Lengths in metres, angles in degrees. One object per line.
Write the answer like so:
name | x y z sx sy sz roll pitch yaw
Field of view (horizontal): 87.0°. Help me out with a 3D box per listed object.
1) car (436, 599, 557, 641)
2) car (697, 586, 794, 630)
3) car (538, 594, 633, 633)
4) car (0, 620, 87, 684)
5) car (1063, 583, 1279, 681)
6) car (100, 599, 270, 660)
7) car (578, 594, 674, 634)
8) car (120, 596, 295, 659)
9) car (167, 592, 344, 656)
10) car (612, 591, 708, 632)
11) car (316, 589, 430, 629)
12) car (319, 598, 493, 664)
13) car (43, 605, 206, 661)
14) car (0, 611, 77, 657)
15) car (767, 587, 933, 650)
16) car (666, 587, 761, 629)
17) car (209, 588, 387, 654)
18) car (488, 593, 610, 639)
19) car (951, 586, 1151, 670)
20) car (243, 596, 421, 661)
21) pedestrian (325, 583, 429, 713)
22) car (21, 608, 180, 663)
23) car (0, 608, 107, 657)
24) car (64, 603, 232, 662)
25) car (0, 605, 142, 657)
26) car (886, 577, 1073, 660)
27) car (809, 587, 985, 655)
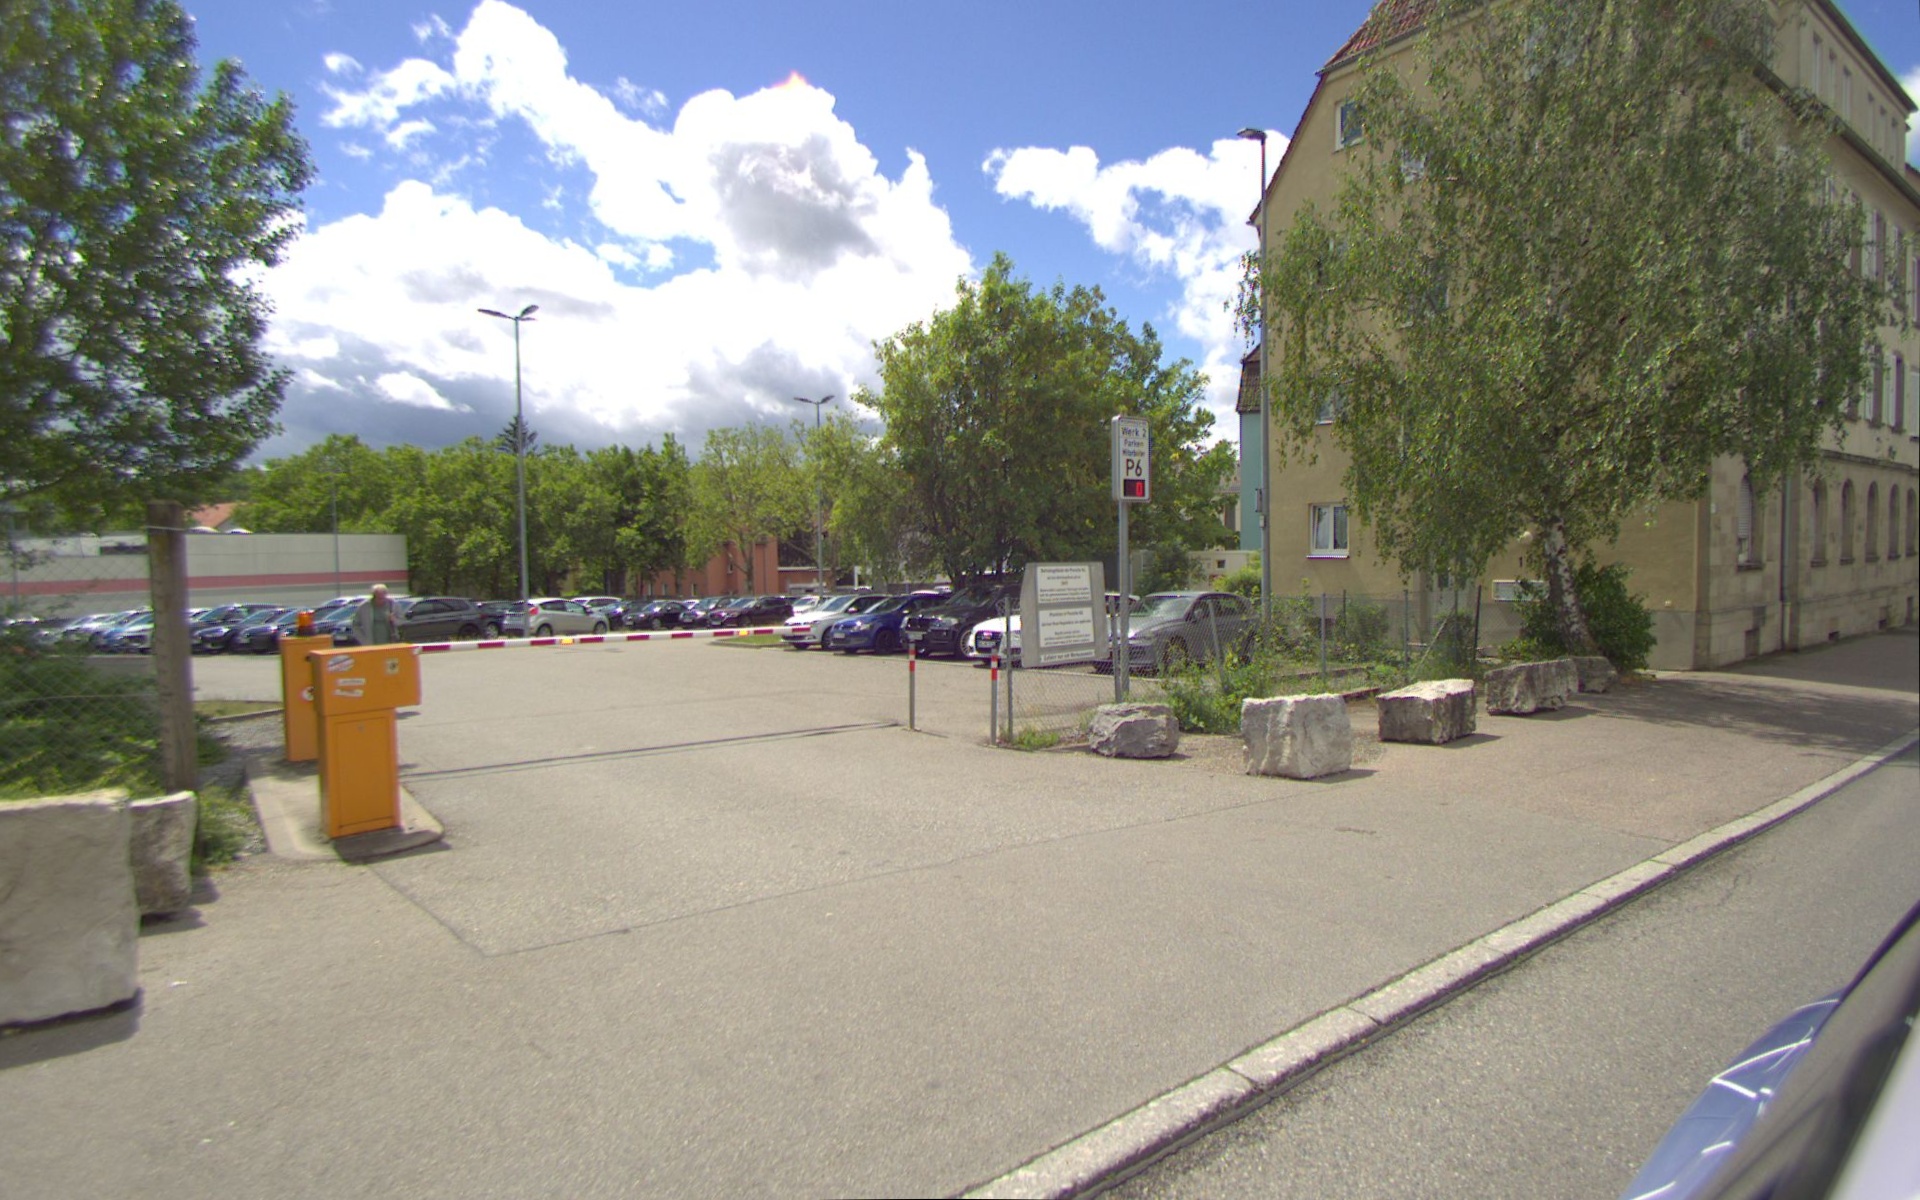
car | -16.826 0.697 36.913 1.852 1.280 3.687 -1 2 25
car | -9.360 0.310 44.426 1.854 1.690 4.310 -1 2 27
car | -18.560 0.629 50.303 1.854 1.690 4.310 -1 2 27
car | -21.357 1.210 21.510 1.490 1.278 3.960 -3 1 30
car | 3.958 0.528 18.666 4.072 1.408 1.718 -4 1 -41
car | -27.748 1.009 36.406 1.979 1.808 4.407 -3 1 26
car | -15.958 0.625 48.623 1.854 1.690 4.310 -1 2 27
car | -25.813 0.901 34.896 1.979 1.808 4.407 -3 1 26
car | -23.479 0.759 33.911 1.979 1.808 4.407 -3 1 26
car | -13.964 0.510 47.342 1.854 1.690 4.310 -1 2 27
car | -23.971 0.342 41.449 1.850 1.466 3.691 -1 2 23
car | -16.665 0.871 30.673 1.854 1.690 4.310 -1 2 27
car | -32.324 1.236 39.313 1.979 1.808 4.407 -3 1 26
car | -41.469 1.543 43.840 1.979 1.808 4.407 -3 1 26
car | -2.895 0.423 27.218 1.870 1.468 4.214 0 2 44
car | -11.226 0.340 46.360 1.854 1.690 4.310 -1 2 27
car | -21.455 0.636 32.997 1.979 1.808 4.407 -3 1 26
car | -14.395 0.534 35.642 1.852 1.404 3.687 -1 2 25
car | 1.963 0.491 20.820 1.870 1.469 4.214 0 2 44
car | -19.347 0.805 31.361 1.858 1.690 4.300 -1 2 33
pedestrian | -8.172 0.655 14.211 0.805 1.718 0.875 -4 0 21
car | -34.398 1.393 40.635 1.979 1.808 4.407 -3 1 26
car | -39.285 1.411 42.808 1.979 1.808 4.407 -3 1 26
car | -30.060 1.146 37.616 1.979 1.808 4.407 -3 1 26
car | -37.010 1.272 41.921 1.979 1.808 4.407 -3 1 26
car | 0.519 0.342 22.992 1.870 1.644 4.214 0 2 44
car | -1.503 0.452 25.291 1.870 1.468 4.214 0 2 44
